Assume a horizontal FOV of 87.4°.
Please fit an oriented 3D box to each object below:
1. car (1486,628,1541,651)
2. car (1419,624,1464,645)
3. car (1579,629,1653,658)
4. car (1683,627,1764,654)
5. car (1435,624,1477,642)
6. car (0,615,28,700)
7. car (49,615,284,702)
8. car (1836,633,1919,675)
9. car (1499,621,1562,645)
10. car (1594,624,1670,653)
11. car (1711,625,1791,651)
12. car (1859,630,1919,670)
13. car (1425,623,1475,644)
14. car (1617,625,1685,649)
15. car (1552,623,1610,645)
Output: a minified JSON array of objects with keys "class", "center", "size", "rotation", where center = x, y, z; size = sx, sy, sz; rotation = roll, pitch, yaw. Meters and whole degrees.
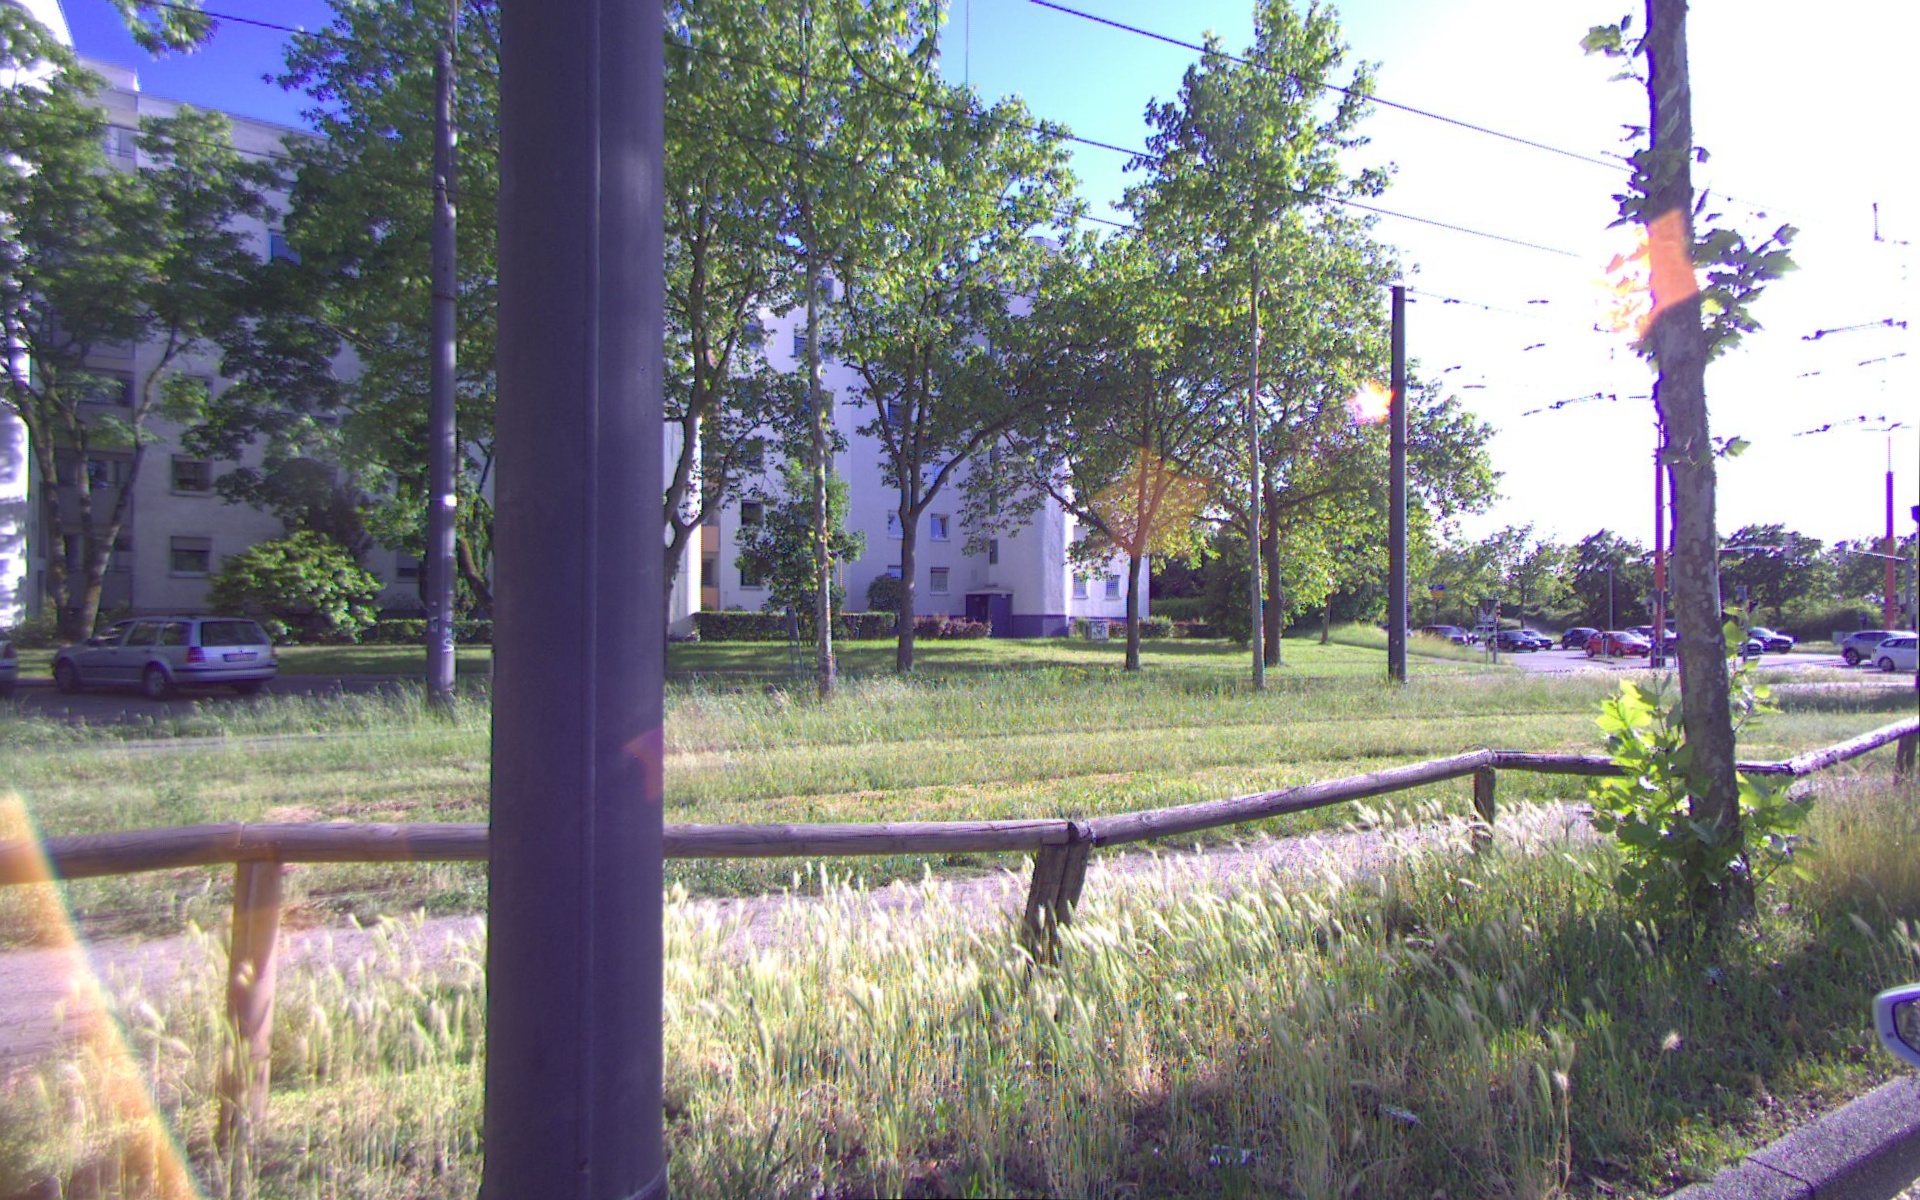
[{"class":"car","center":[38.996,2.762,70.875],"size":[1.624,1.540,4.200],"rotation":[1,-1,1]},{"class":"car","center":[38.585,2.766,80.588],"size":[1.624,1.540,4.200],"rotation":[1,-1,1]},{"class":"car","center":[38.683,2.542,59.331],"size":[1.624,1.540,4.200],"rotation":[1,-1,1]},{"class":"car","center":[45.569,2.396,60.057],"size":[1.513,1.434,4.154],"rotation":[1,-1,-3]},{"class":"car","center":[44.613,2.957,90.425],"size":[1.513,1.434,4.154],"rotation":[1,-1,-3]},{"class":"car","center":[-17.990,0.950,17.149],"size":[3.567,1.421,1.581],"rotation":[1,0,20]},{"class":"car","center":[-14.540,1.013,18.423],"size":[3.830,1.421,1.581],"rotation":[1,0,20]},{"class":"car","center":[42.430,2.408,45.642],"size":[1.623,1.714,4.343],"rotation":[1,-1,2]},{"class":"car","center":[42.557,2.452,75.050],"size":[1.723,1.669,4.640],"rotation":[1,-1,-5]},{"class":"car","center":[42.625,2.404,63.824],"size":[1.721,1.669,4.644],"rotation":[1,-1,1]},{"class":"car","center":[48.647,2.326,61.891],"size":[1.513,1.434,4.154],"rotation":[1,-1,-3]},{"class":"car","center":[39.293,2.059,40.684],"size":[1.624,1.540,4.638],"rotation":[1,-1,1]},{"class":"car","center":[41.895,2.817,86.011],"size":[1.723,1.669,4.640],"rotation":[1,-1,-5]},{"class":"car","center":[45.394,2.430,66.077],"size":[1.513,1.434,4.154],"rotation":[1,-1,-3]},{"class":"car","center":[45.297,2.462,73.325],"size":[1.513,1.434,4.154],"rotation":[1,-1,-3]}]
